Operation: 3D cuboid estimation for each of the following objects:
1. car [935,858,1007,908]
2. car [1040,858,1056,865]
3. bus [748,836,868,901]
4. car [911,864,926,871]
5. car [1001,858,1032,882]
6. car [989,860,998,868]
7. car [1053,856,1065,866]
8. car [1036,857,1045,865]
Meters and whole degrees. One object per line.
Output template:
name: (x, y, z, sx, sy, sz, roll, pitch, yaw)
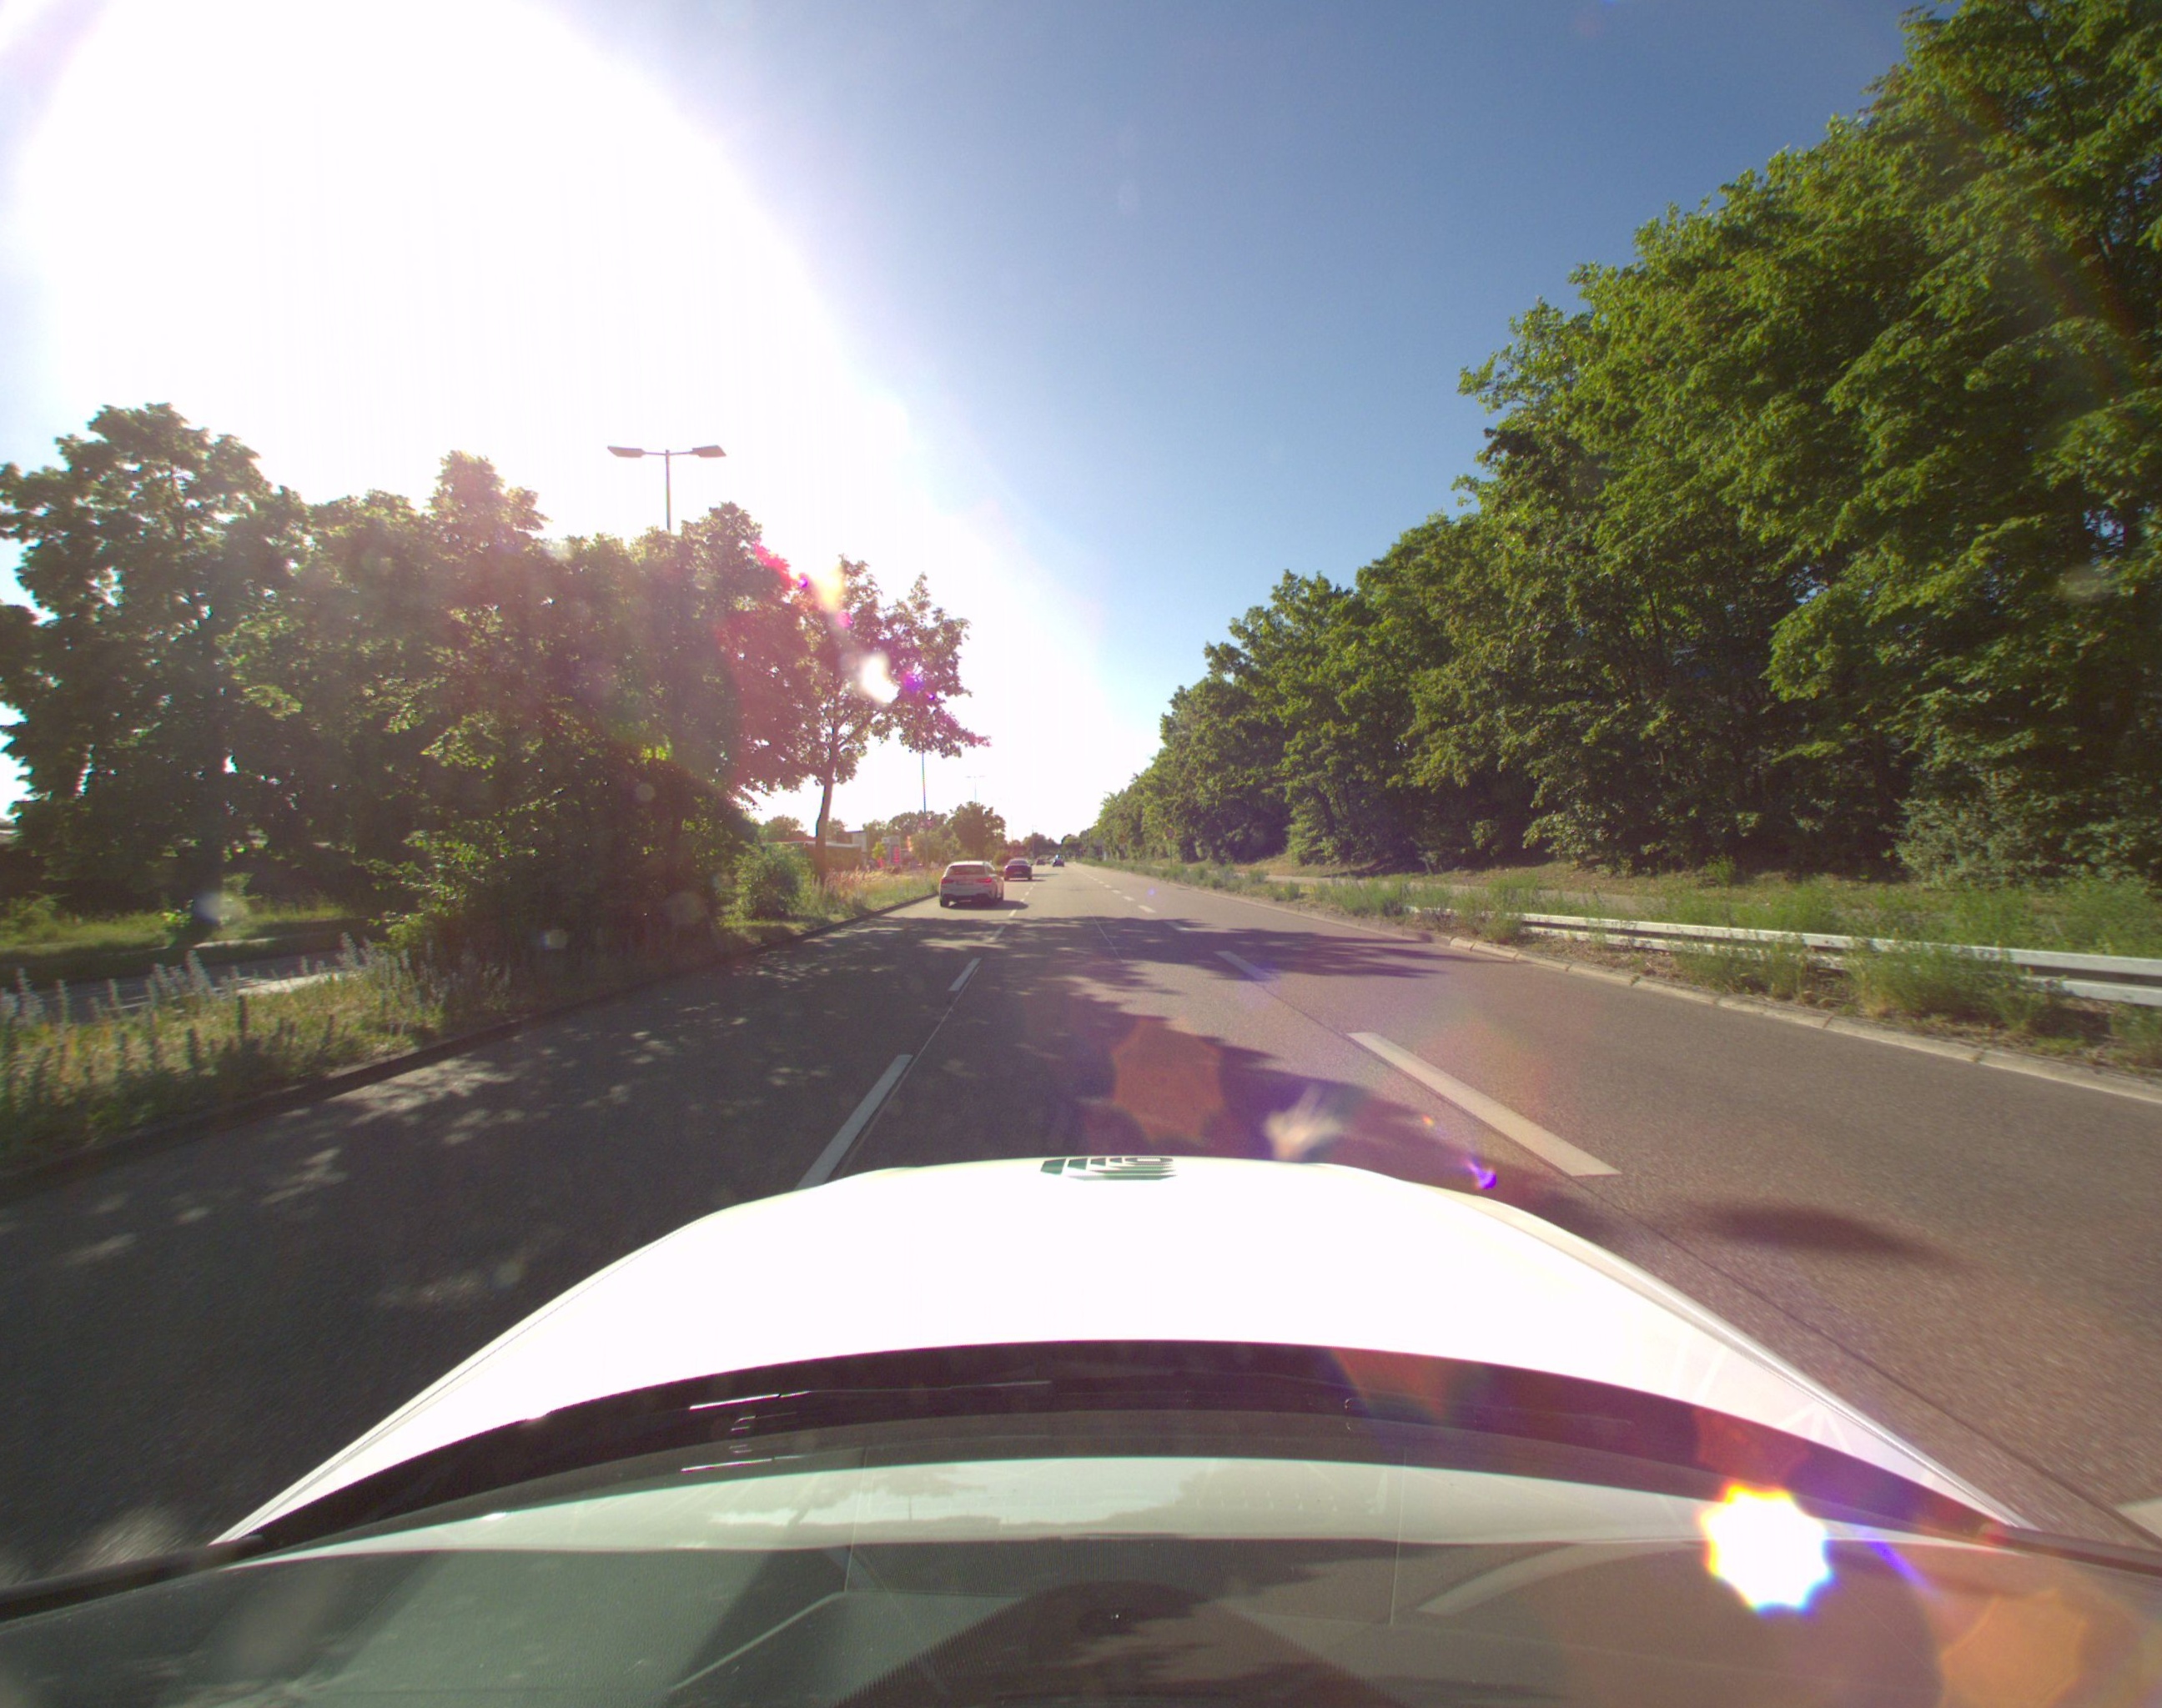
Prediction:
car: (-3.605, 0.911, 27.411, 1.856, 1.455, 4.545, -1, 0, -1)
car: (-8.113, 1.833, 200.110, 3.418, 1.396, 1.449, -2, 0, 30)
bus: (-13.746, 0.645, 42.246, 2.715, 2.721, 11.077, -5, 0, -2)
car: (-41.863, 3.432, 209.581, 4.035, 1.783, 1.939, -3, 0, 44)
car: (-4.313, 1.036, 54.912, 1.857, 1.455, 4.543, -2, 0, -2)
car: (-22.317, 2.545, 207.500, 1.735, 1.802, 4.668, -5, 0, -2)
car: (-3.629, 1.119, 133.004, 1.857, 1.499, 4.332, -2, 0, -2)
car: (-8.531, 1.491, 171.485, 1.857, 1.565, 4.543, -2, 0, -2)
